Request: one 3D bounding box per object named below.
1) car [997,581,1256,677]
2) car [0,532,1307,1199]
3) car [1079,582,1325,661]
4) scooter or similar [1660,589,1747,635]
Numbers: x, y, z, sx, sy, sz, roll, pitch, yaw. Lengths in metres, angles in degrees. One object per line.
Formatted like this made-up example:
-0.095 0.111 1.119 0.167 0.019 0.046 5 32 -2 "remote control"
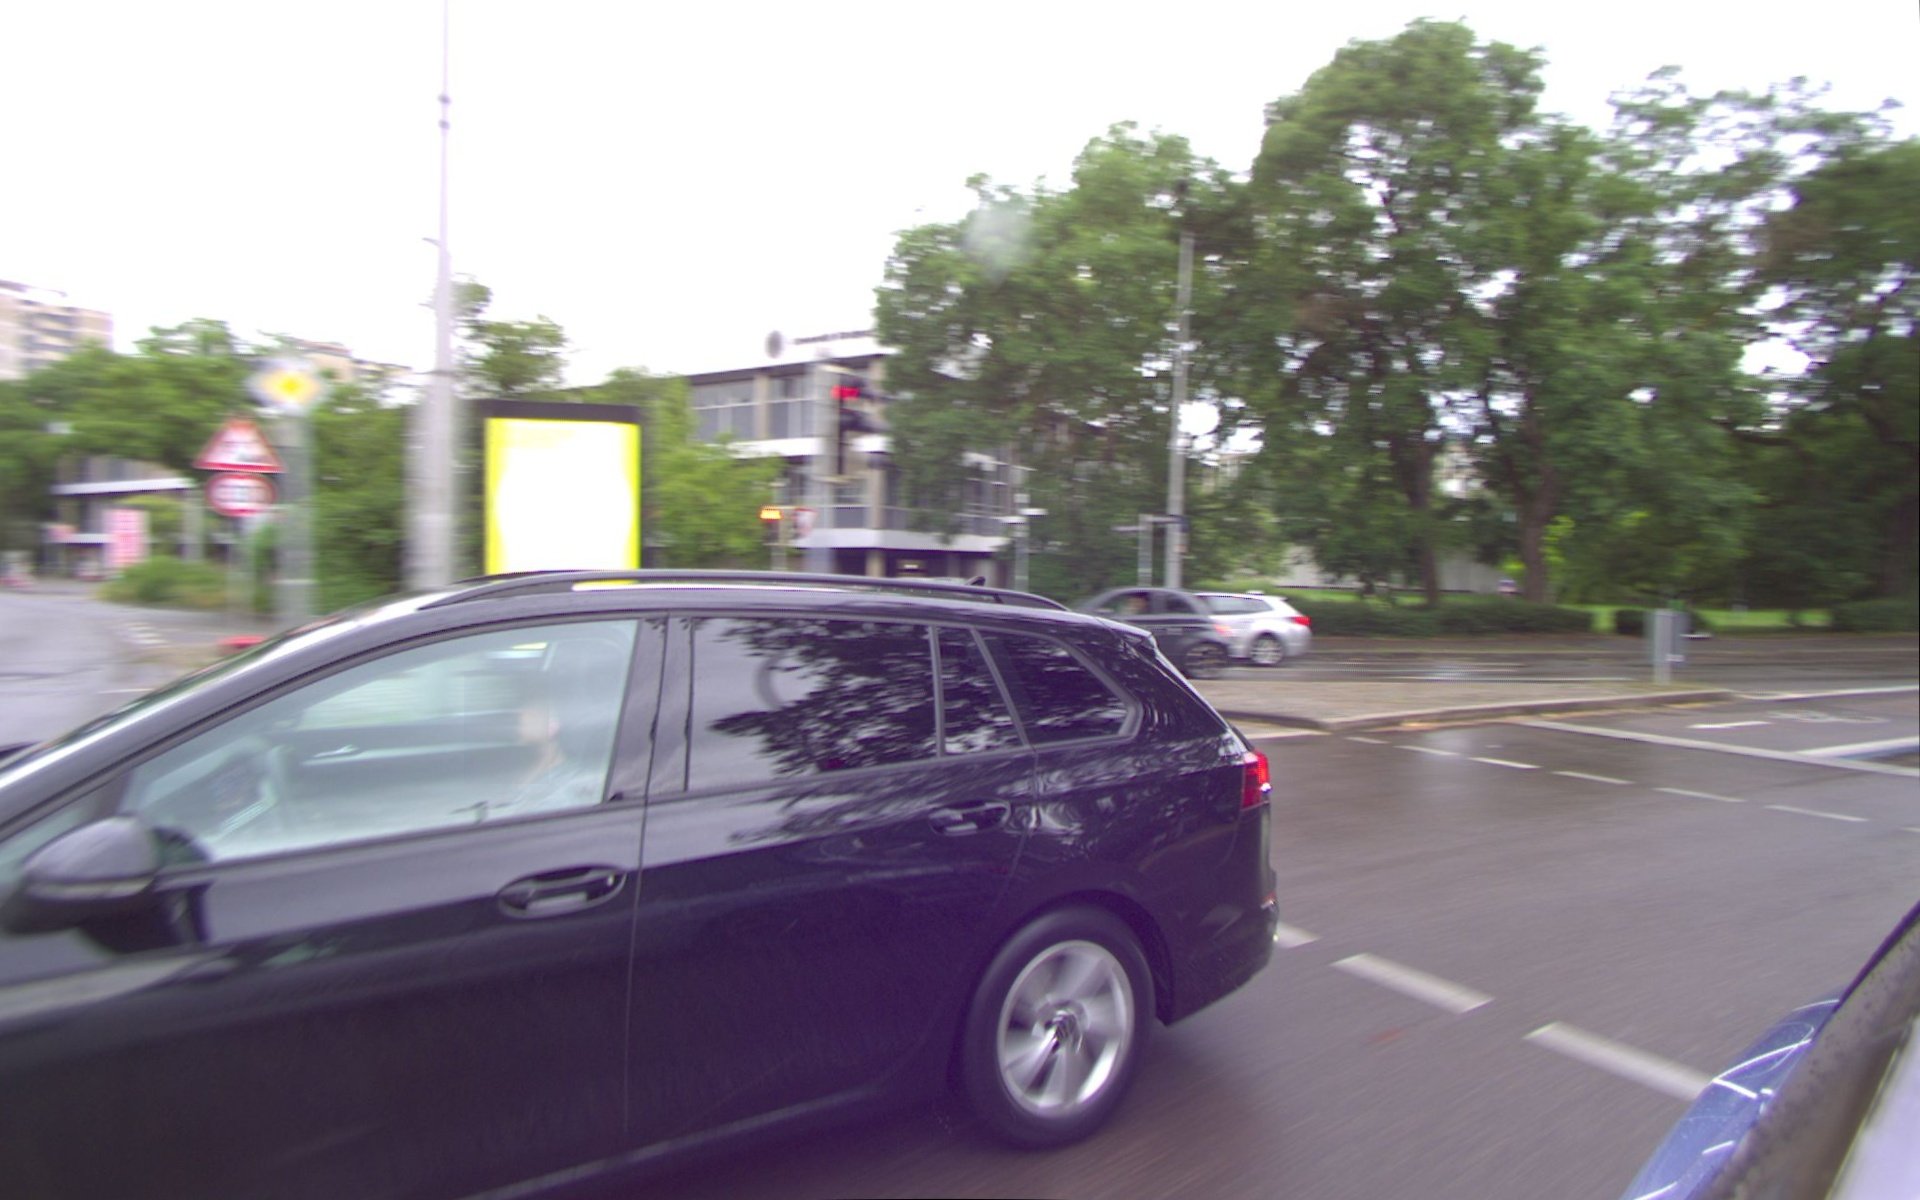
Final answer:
2.605 0.428 16.588 3.925 1.468 1.868 0 1 1 "car"
-1.332 0.621 2.562 4.422 1.484 1.677 0 1 -30 "car"
4.681 0.398 19.940 4.316 1.468 1.870 0 1 -4 "car"
19.407 0.300 26.438 1.853 1.114 0.559 1 4 -5 "scooter or similar"
